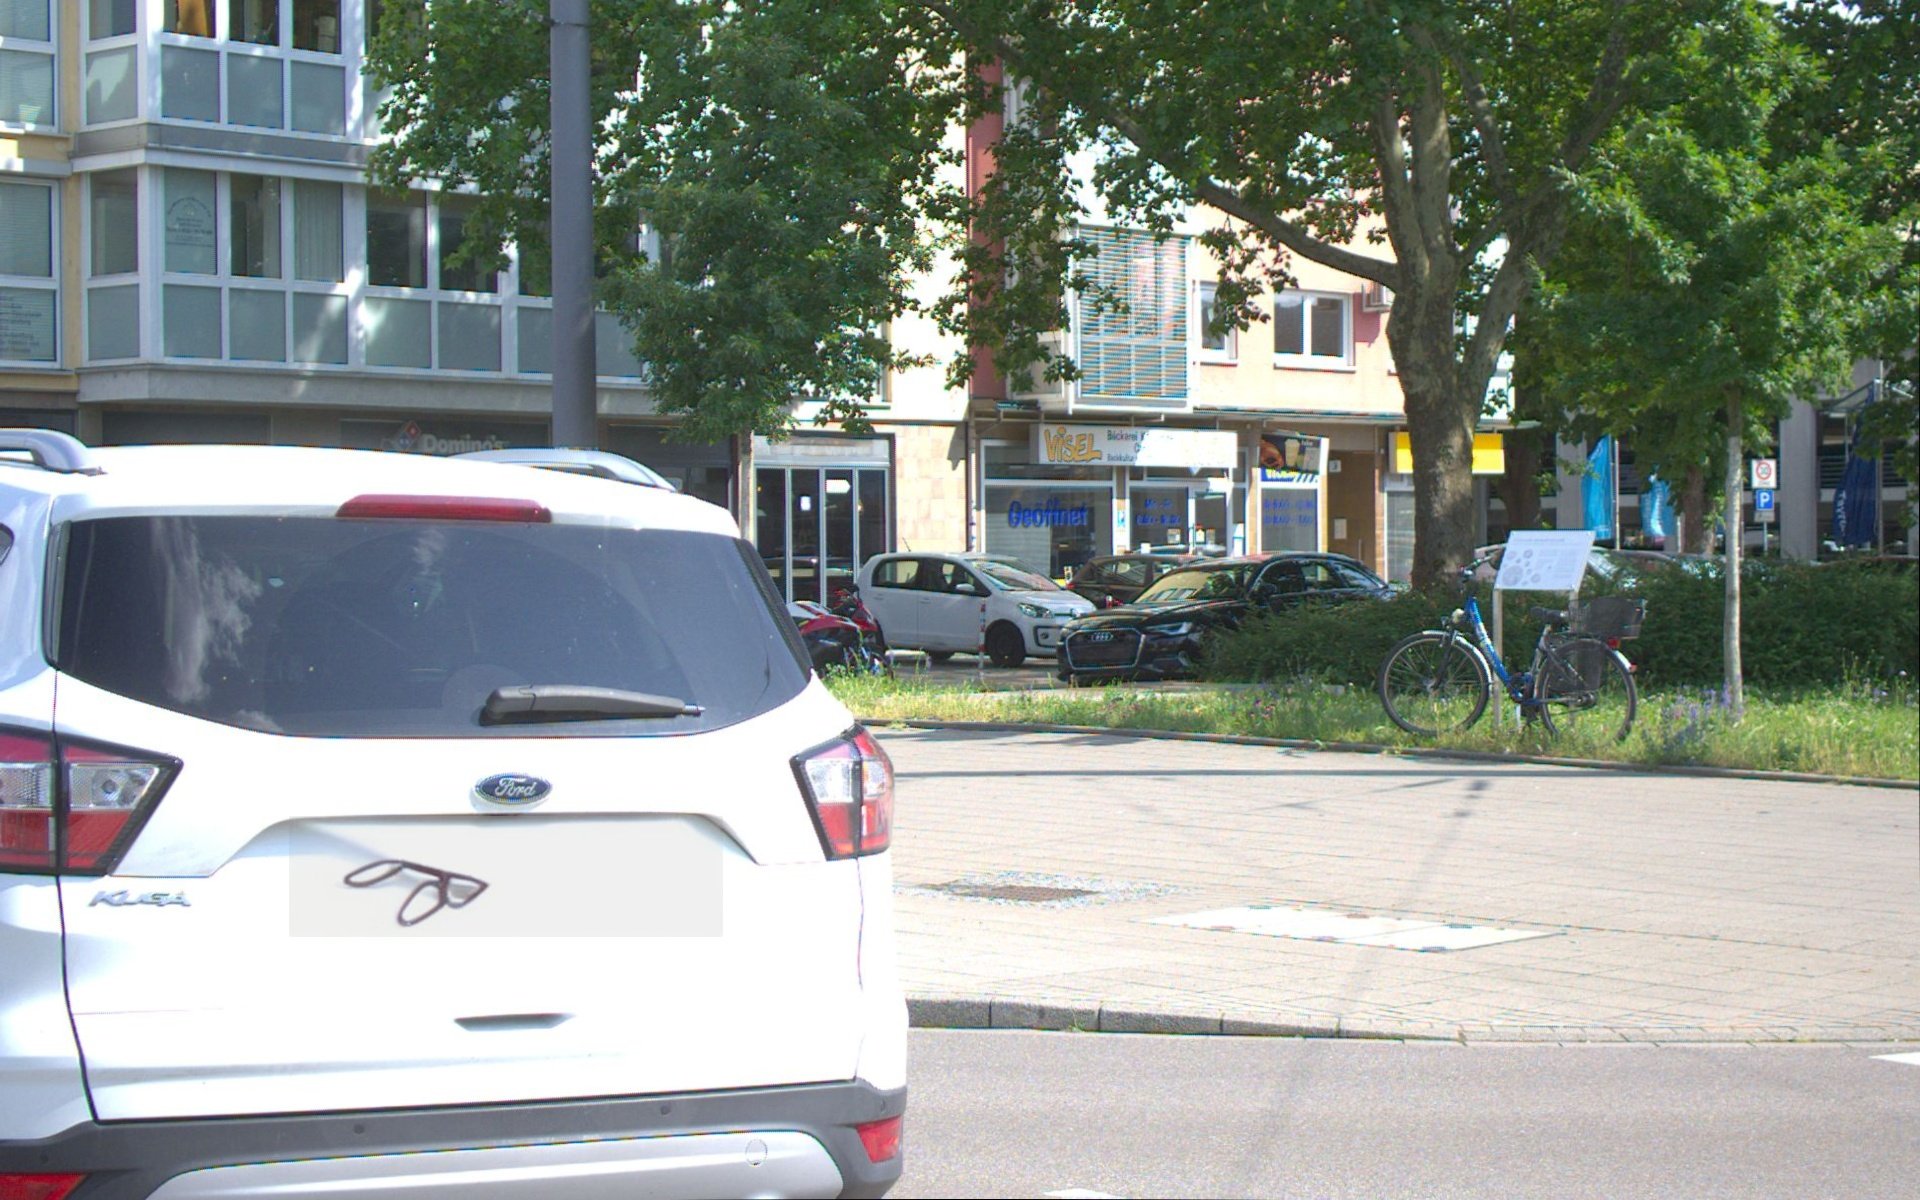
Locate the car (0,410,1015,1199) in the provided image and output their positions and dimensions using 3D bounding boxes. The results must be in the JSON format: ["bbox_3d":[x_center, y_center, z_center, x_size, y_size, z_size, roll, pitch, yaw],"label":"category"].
[{"bbox_3d":[-1.638,0.554,6.905,1.827,1.658,3.956,0,0,-28],"label":"car"}]

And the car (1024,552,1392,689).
[{"bbox_3d":[2.737,0.219,37.273,1.910,1.408,3.990,0,0,43],"label":"car"}]

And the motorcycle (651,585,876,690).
[{"bbox_3d":[-1.836,0.349,32.346,2.038,0.914,0.811,-1,1,1],"label":"motorcycle"}]

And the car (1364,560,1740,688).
[{"bbox_3d":[6.401,0.250,37.521,1.628,1.322,3.999,1,0,-38],"label":"car"}]

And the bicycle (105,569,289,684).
[{"bbox_3d":[-7.998,0.261,36.012,1.947,1.143,0.795,1,2,36],"label":"bicycle"}]

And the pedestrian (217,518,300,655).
[{"bbox_3d":[-8.381,-0.167,41.047,0.857,1.602,0.832,1,2,-18],"label":"pedestrian"}]

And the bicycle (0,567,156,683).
[{"bbox_3d":[-9.206,0.241,35.468,1.808,1.143,0.795,1,2,36],"label":"bicycle"}]

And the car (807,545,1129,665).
[{"bbox_3d":[0.079,0.034,45.028,3.996,1.490,1.799,1,1,39],"label":"car"}]

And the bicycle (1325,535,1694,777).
[{"bbox_3d":[3.434,0.316,21.611,2.173,1.409,0.810,2,3,39],"label":"bicycle"}]
